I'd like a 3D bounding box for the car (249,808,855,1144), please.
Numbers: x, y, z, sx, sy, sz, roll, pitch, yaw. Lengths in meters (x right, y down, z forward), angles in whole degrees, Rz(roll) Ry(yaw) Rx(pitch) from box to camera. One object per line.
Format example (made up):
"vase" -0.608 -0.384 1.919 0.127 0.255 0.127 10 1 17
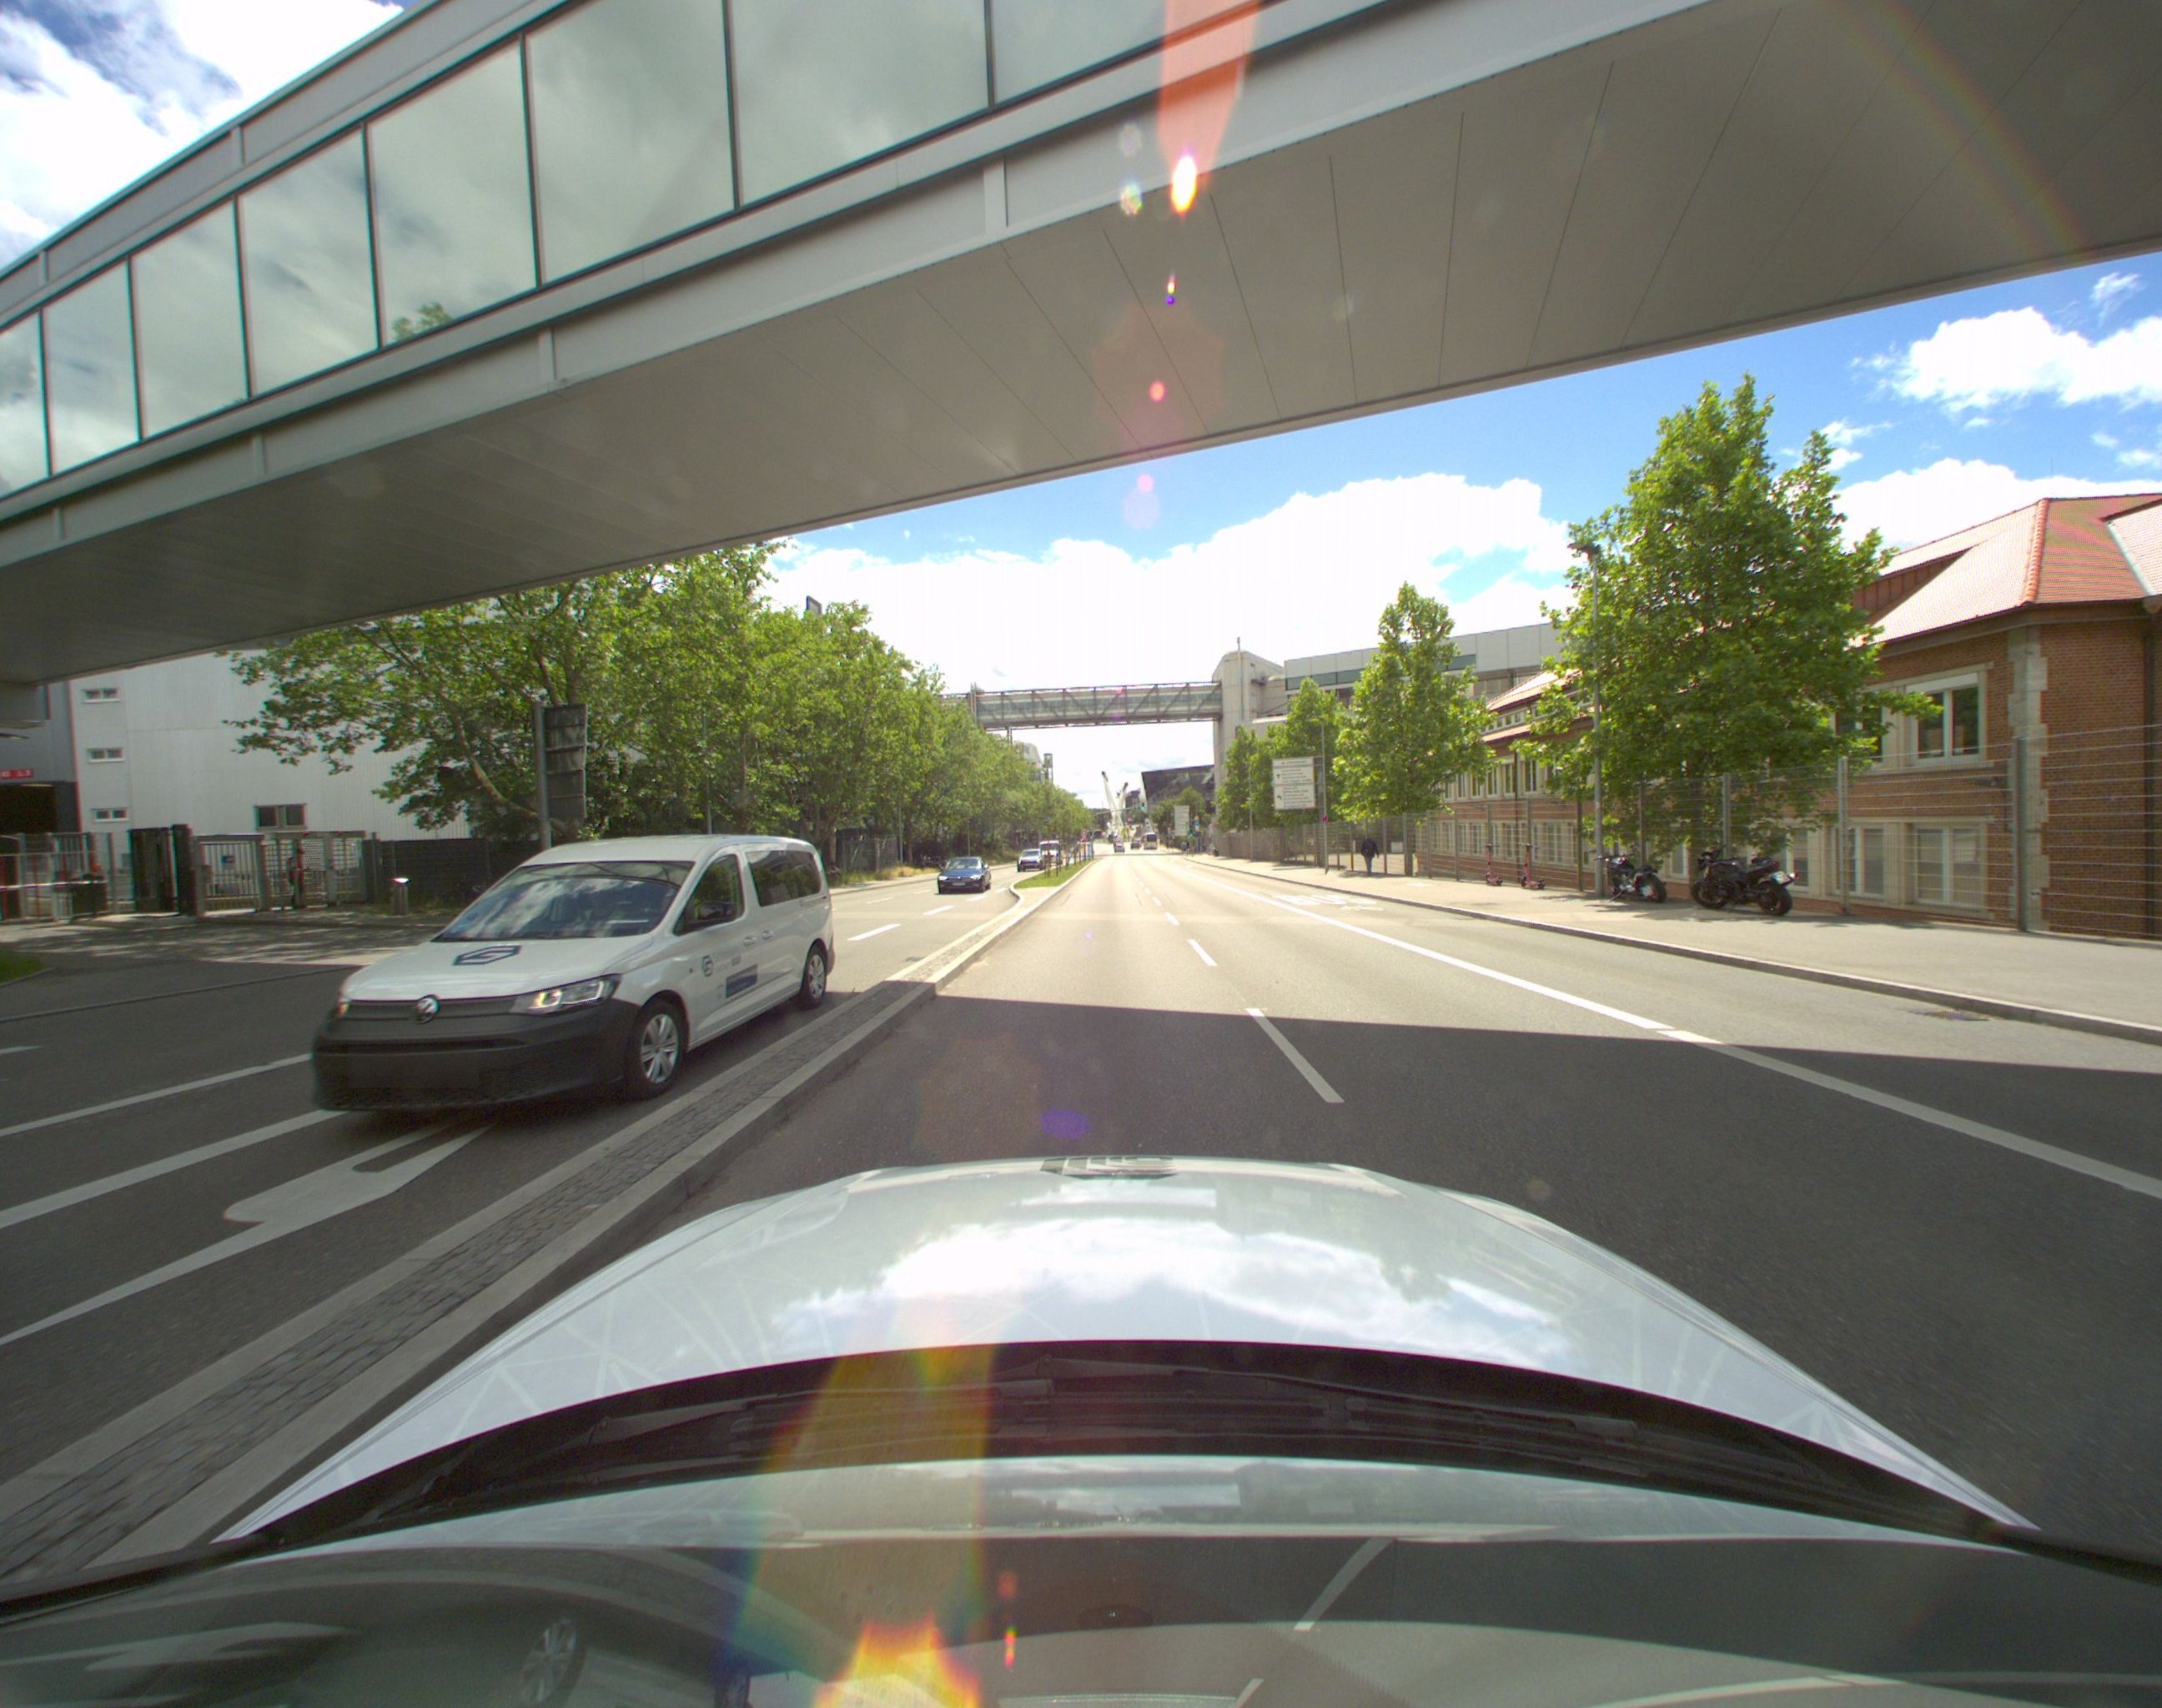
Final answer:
"car" -3.564 0.658 6.916 1.802 1.780 4.978 -1 0 1

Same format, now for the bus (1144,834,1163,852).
"bus" 15.238 -2.279 171.217 3.438 3.543 10.614 -1 0 3

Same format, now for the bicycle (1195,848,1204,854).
"bicycle" 18.491 -0.526 127.037 0.399 0.937 1.914 -1 0 -22

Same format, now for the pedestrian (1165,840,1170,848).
"pedestrian" 16.906 -1.970 159.423 0.817 1.707 0.882 -1 0 3

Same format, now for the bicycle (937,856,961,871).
"bicycle" -11.457 0.794 70.660 1.911 1.282 0.806 -1 0 0

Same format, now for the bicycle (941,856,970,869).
"bicycle" -11.784 0.828 76.379 2.547 1.157 0.728 -1 0 12

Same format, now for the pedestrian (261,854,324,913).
"pedestrian" -23.372 0.853 24.157 0.982 1.701 0.882 -1 0 -13

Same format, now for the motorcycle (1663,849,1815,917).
"motorcycle" 11.692 0.479 14.627 0.705 1.064 2.511 -4 0 2

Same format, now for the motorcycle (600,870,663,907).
"motorcycle" -14.550 1.114 26.395 1.584 1.123 0.777 0 2 3

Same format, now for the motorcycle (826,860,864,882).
"motorcycle" -13.044 0.935 44.939 1.865 1.173 0.748 1 2 11

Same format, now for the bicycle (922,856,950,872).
"bicycle" -11.662 0.789 65.476 2.126 1.180 0.807 -1 0 0

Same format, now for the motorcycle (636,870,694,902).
"motorcycle" -14.237 1.090 27.880 1.584 1.033 0.777 0 2 3

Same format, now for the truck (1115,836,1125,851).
"truck" 10.582 -2.938 221.433 2.382 3.897 6.183 -1 0 4

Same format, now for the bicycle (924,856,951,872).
"bicycle" -12.090 0.811 68.550 2.126 1.282 0.807 -1 0 0

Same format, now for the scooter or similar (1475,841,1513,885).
"scooter or similar" 12.631 0.263 24.934 0.489 1.294 1.337 -3 0 2

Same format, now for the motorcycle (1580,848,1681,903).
"motorcycle" 11.906 0.440 17.753 0.665 1.064 2.248 -4 0 2

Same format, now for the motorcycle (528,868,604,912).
"motorcycle" -14.555 1.002 23.049 1.731 1.171 0.778 1 2 10

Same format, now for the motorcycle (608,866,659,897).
"motorcycle" -17.826 1.074 32.441 1.913 1.115 0.927 1 2 29

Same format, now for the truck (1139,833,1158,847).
"truck" 21.526 -4.434 259.604 3.423 4.391 9.470 -1 0 21

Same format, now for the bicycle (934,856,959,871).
"bicycle" -11.477 0.794 69.486 1.911 1.282 0.807 -1 0 0

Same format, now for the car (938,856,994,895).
"car" -4.700 0.841 33.795 1.704 1.453 4.477 -1 0 -1

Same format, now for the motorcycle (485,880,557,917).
"motorcycle" -15.185 1.186 22.097 1.727 0.868 0.780 1 2 22

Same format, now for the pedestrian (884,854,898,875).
"pedestrian" -14.546 0.776 62.271 0.749 1.551 0.823 -1 0 12

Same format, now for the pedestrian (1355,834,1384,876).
"pedestrian" 12.418 0.039 35.073 0.874 1.743 0.941 -4 0 2

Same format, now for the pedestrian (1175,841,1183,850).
"pedestrian" 17.215 -1.542 143.063 0.839 1.624 0.962 -1 0 44

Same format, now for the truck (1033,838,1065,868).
"truck" -3.042 -0.107 78.889 2.469 2.751 6.462 -2 0 2

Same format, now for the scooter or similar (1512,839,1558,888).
"scooter or similar" 12.533 0.262 22.517 0.489 1.294 1.337 -3 0 2

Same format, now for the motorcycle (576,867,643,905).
"motorcycle" -14.579 0.989 25.222 1.589 1.123 0.774 0 2 -7

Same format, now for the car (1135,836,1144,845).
"car" 14.006 -3.237 196.040 1.986 2.014 4.002 0 -1 2

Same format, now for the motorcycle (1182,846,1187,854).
"motorcycle" 16.895 -0.707 133.023 0.703 1.203 2.026 -3 1 4

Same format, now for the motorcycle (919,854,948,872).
"motorcycle" -11.647 0.700 64.470 2.126 1.309 0.807 -1 0 0

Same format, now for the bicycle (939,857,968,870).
"bicycle" -11.642 0.835 74.433 2.547 1.096 0.698 -2 0 12

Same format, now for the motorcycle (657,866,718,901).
"motorcycle" -14.000 1.030 29.029 1.746 1.178 0.850 0 2 -9

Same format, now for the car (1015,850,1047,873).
"car" -3.738 0.506 61.207 1.897 1.631 4.296 -1 0 2

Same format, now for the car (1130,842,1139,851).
"car" 11.139 -1.600 169.012 1.731 1.741 3.695 -1 0 4

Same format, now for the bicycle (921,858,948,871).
"bicycle" -11.970 0.874 66.701 2.073 1.062 0.497 -1 0 0

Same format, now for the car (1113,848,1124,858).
"car" 6.589 -0.207 142.496 1.731 1.741 3.695 -1 0 4
